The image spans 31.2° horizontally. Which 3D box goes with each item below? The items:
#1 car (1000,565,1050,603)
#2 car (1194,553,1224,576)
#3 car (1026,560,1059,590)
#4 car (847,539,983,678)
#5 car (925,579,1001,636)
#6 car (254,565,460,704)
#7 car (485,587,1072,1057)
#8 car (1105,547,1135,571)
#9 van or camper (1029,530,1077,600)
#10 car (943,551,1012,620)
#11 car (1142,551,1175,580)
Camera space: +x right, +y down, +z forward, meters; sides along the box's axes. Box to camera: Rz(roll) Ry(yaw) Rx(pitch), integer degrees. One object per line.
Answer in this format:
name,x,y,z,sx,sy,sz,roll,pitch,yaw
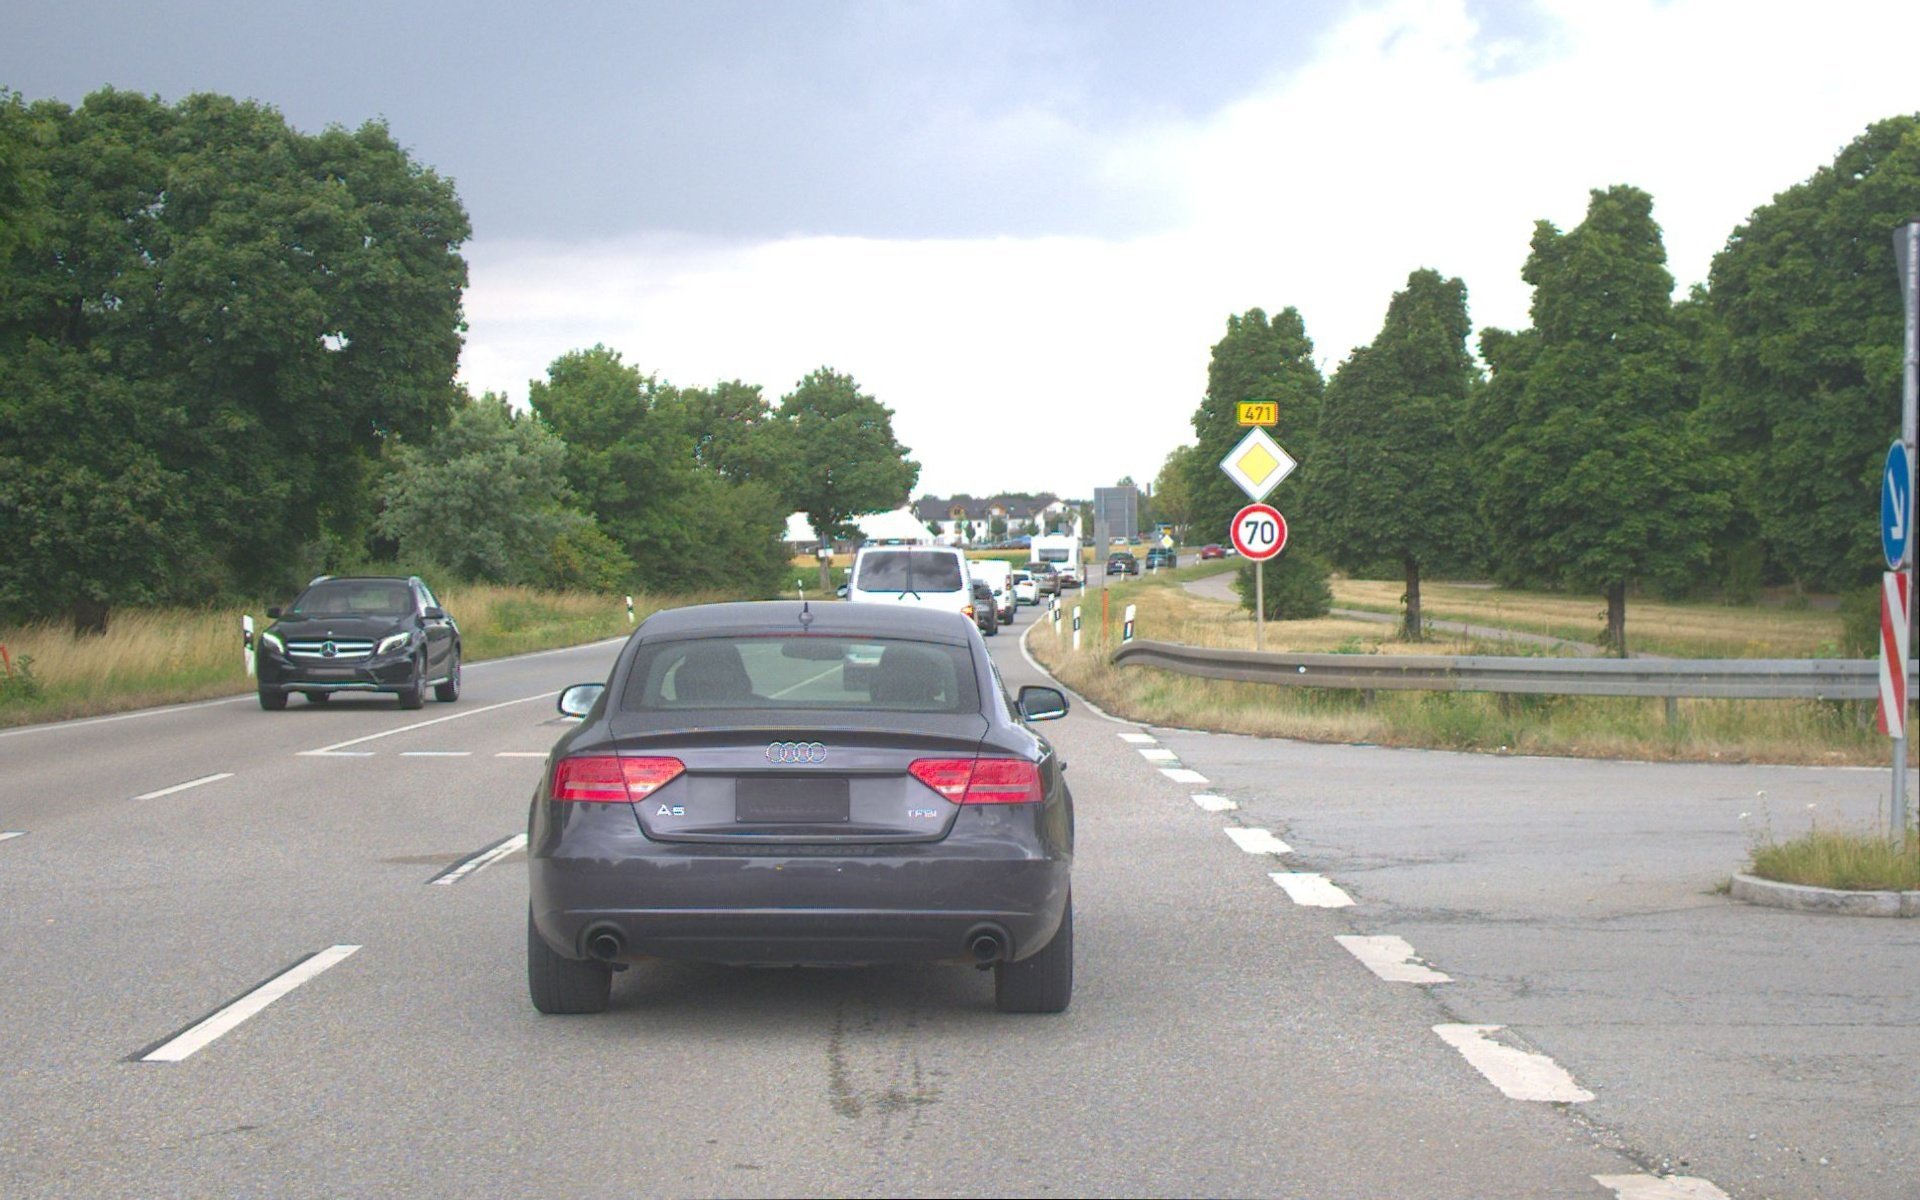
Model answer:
car,2.621,-0.659,138.344,1.736,1.509,3.746,0,0,5
car,17.521,-2.513,241.950,1.821,1.591,4.000,0,1,0
car,3.696,-1.116,153.497,1.258,1.349,3.465,0,0,5
car,-0.643,0.078,48.979,1.838,1.876,4.000,1,1,-1
car,0.098,0.185,89.848,1.796,1.459,3.248,0,0,3
car,-6.881,0.360,39.571,1.711,1.517,4.000,0,1,-1
car,-0.580,0.673,12.520,1.783,1.372,4.000,1,1,-1
car,9.894,-2.557,212.587,1.719,1.446,4.000,1,1,0
van or camper,4.656,-1.743,171.923,2.340,3.469,5.718,0,0,1
car,0.557,-0.456,105.802,1.993,2.081,4.000,0,0,2
car,13.772,-2.397,238.694,1.993,2.007,4.000,0,0,-1
